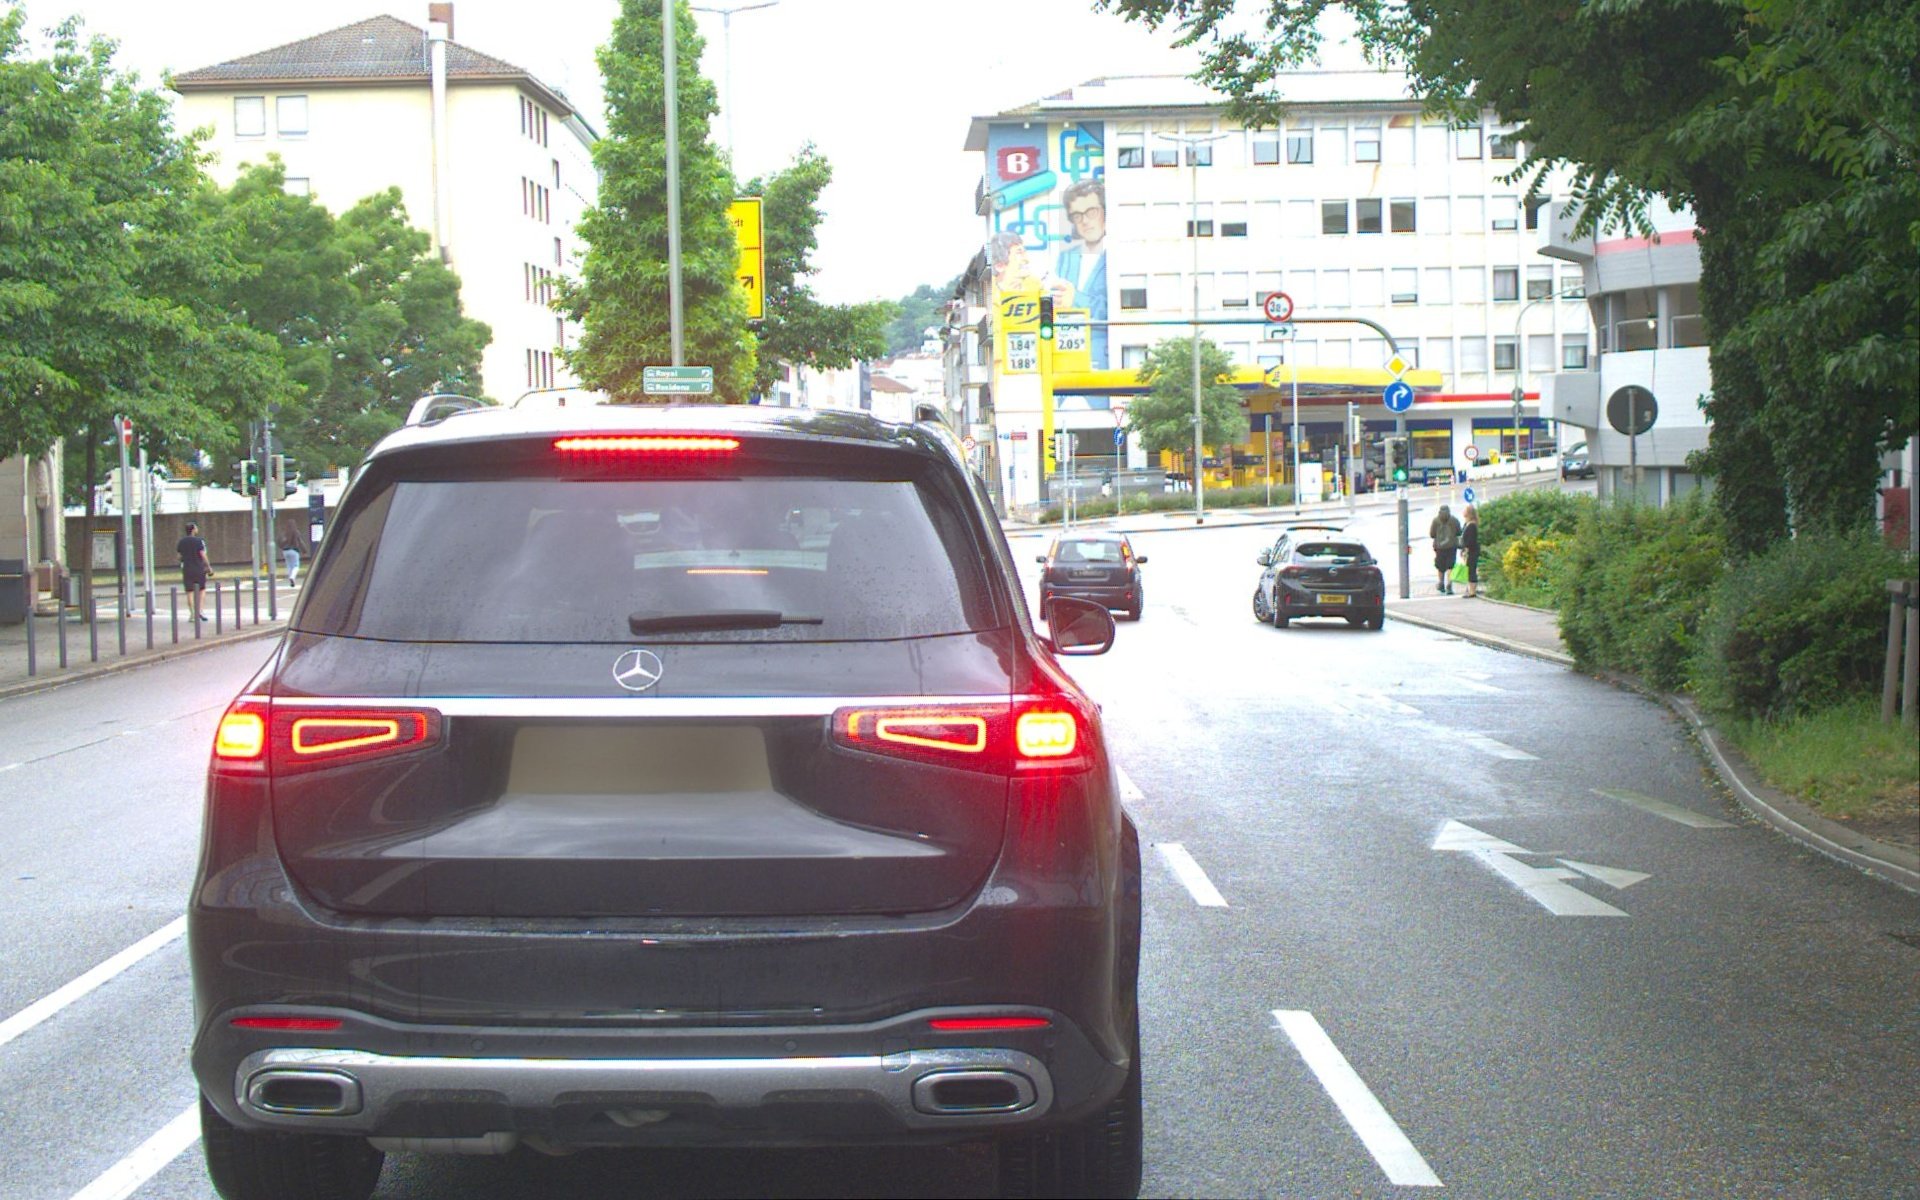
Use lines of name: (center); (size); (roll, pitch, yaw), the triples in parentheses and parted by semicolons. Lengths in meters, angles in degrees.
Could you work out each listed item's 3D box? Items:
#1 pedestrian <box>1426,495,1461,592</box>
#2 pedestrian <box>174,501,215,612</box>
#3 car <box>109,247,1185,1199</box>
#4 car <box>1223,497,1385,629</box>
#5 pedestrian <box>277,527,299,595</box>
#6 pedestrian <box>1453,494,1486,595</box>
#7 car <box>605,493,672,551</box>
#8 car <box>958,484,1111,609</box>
pedestrian: (9.647, -1.127, 68.666); (0.620, 1.929, 0.610); (1, 0, 4)
pedestrian: (-13.904, -0.789, 62.470); (0.587, 2.007, 0.749); (-1, 1, -2)
car: (-0.655, 0.343, 8.469); (1.993, 2.007, 4.000); (1, 0, -2)
car: (5.440, -0.625, 54.817); (1.993, 2.007, 4.001); (-1, 1, -2)
pedestrian: (-16.511, -0.958, 84.491); (0.399, 1.639, 0.567); (1, 0, -1)
pedestrian: (9.702, -1.054, 65.498); (0.519, 1.904, 0.556); (1, 0, -1)
car: (-10.945, -2.646, 117.364); (1.993, 1.868, 5.142); (1, 0, -2)
car: (1.212, -0.882, 57.719); (1.993, 2.007, 4.001); (1, 0, -7)
